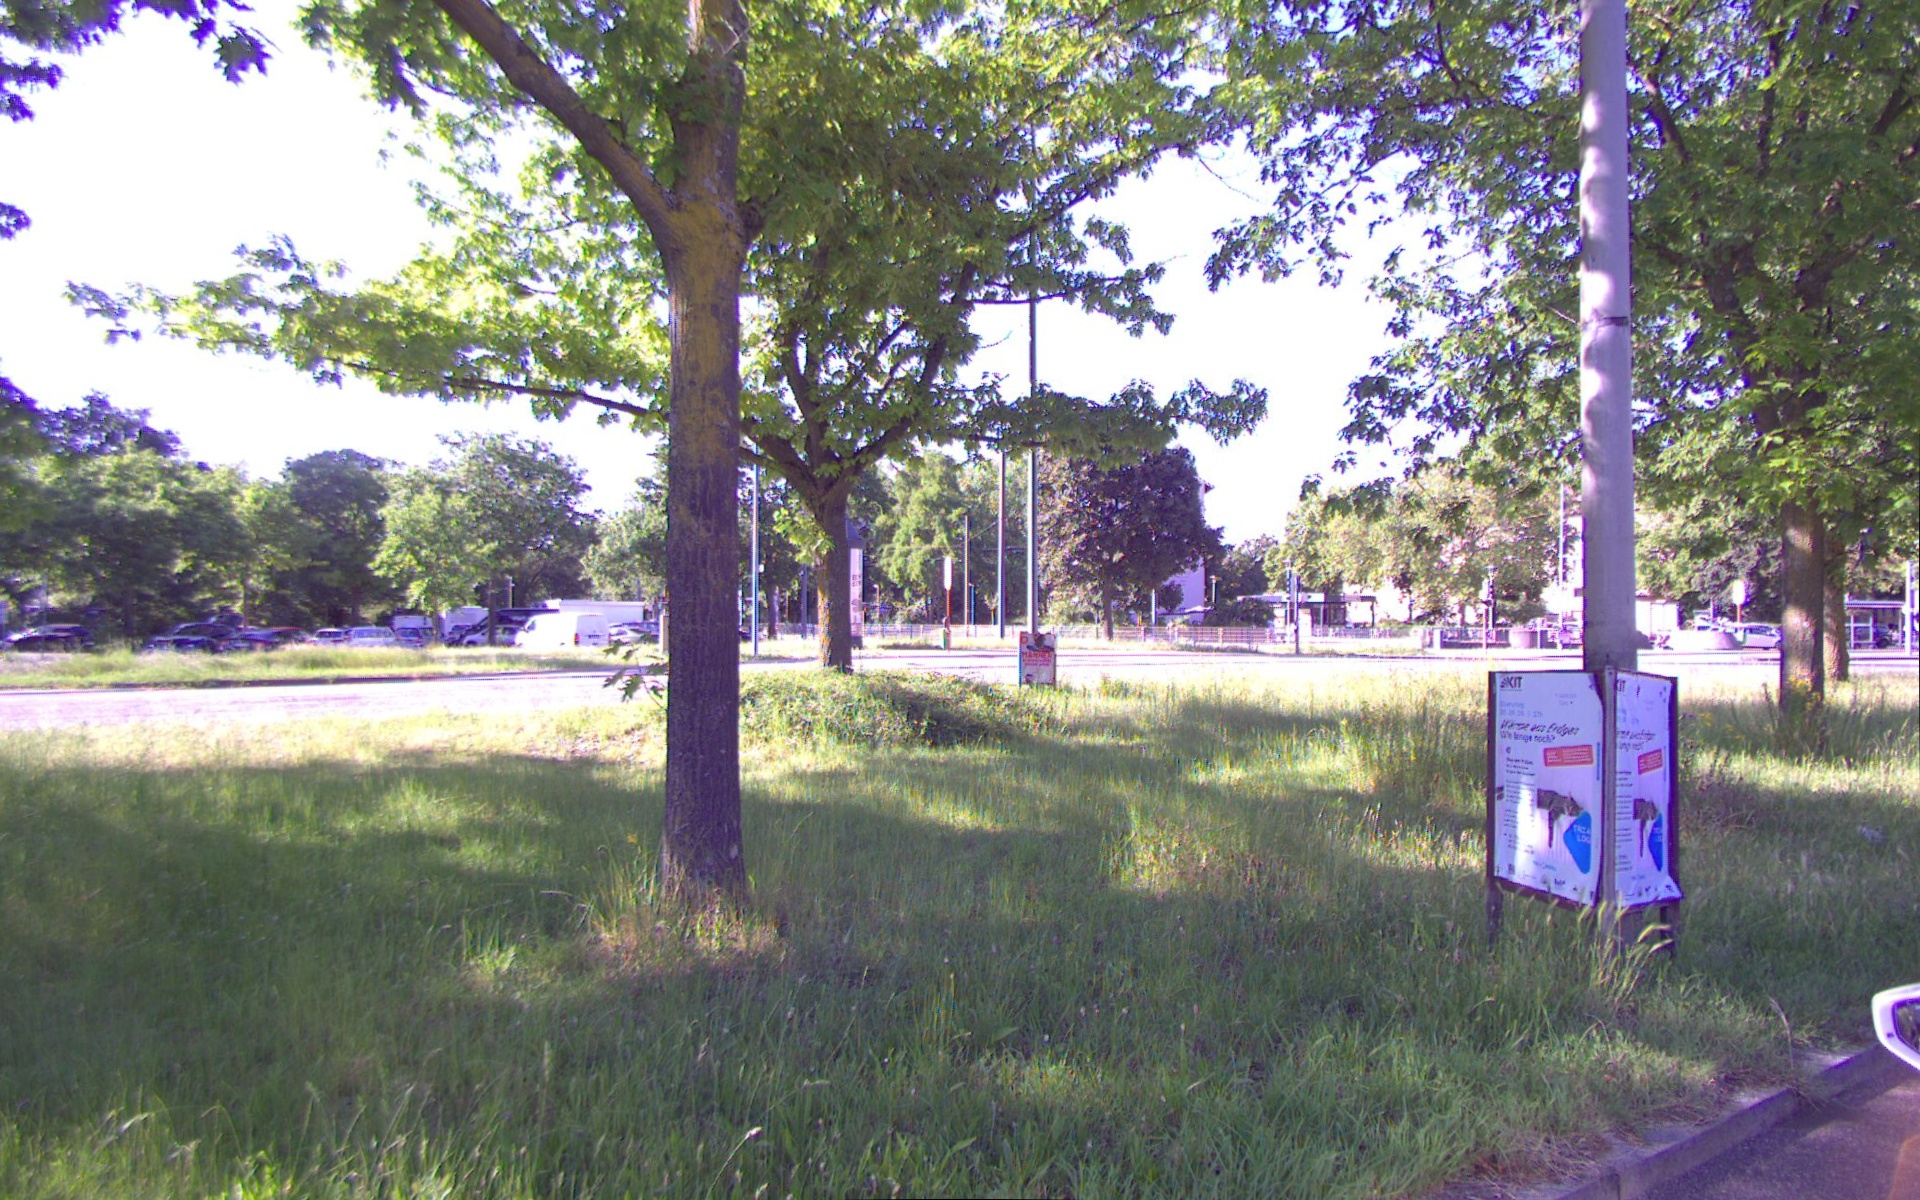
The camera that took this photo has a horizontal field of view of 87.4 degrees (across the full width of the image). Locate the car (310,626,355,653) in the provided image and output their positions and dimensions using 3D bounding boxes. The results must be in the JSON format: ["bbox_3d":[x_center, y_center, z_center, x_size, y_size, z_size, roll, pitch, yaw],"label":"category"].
[{"bbox_3d":[-29.297,1.819,46.864,1.603,1.194,3.047,1,-1,-35],"label":"car"}]

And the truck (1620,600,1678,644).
[{"bbox_3d":[46.638,1.474,68.093,1.960,2.842,4.002,0,-1,15],"label":"truck"}]

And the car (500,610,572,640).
[{"bbox_3d":[-24.133,1.407,57.289,3.698,1.691,1.883,1,-1,-23],"label":"car"}]

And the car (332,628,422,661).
[{"bbox_3d":[-21.828,1.629,37.634,2.769,1.171,1.326,1,-1,-40],"label":"car"}]

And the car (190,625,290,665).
[{"bbox_3d":[-25.235,1.558,35.243,2.769,1.323,1.326,1,-1,-40],"label":"car"}]

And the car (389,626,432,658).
[{"bbox_3d":[-26.704,2.023,48.778,1.602,1.438,3.050,1,-1,-33],"label":"car"}]

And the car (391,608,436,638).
[{"bbox_3d":[-32.491,1.359,59.785,1.865,1.691,3.733,1,-1,-22],"label":"car"}]

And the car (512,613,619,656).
[{"bbox_3d":[-17.220,1.469,43.800,4.670,1.762,2.024,0,-1,34],"label":"car"}]

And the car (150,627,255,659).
[{"bbox_3d":[-26.844,1.498,35.628,1.315,1.078,2.777,0,-1,42],"label":"car"}]

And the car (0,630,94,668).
[{"bbox_3d":[-47.662,2.490,51.902,1.966,1.817,3.990,0,-1,32],"label":"car"}]

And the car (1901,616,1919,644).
[{"bbox_3d":[71.792,2.215,73.375,1.910,2.040,4.155,1,-1,-31],"label":"car"}]

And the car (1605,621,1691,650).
[{"bbox_3d":[42.688,2.192,62.367,3.919,1.706,2.001,0,-1,9],"label":"car"}]

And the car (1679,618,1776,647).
[{"bbox_3d":[46.904,1.961,61.468,4.233,1.706,2.001,0,-1,9],"label":"car"}]

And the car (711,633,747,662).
[{"bbox_3d":[-12.033,2.449,52.487,1.589,1.438,3.073,0,-1,-8],"label":"car"}]

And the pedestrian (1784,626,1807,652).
[{"bbox_3d":[53.613,2.485,64.461,0.781,1.629,0.923,0,-1,9],"label":"pedestrian"}]
